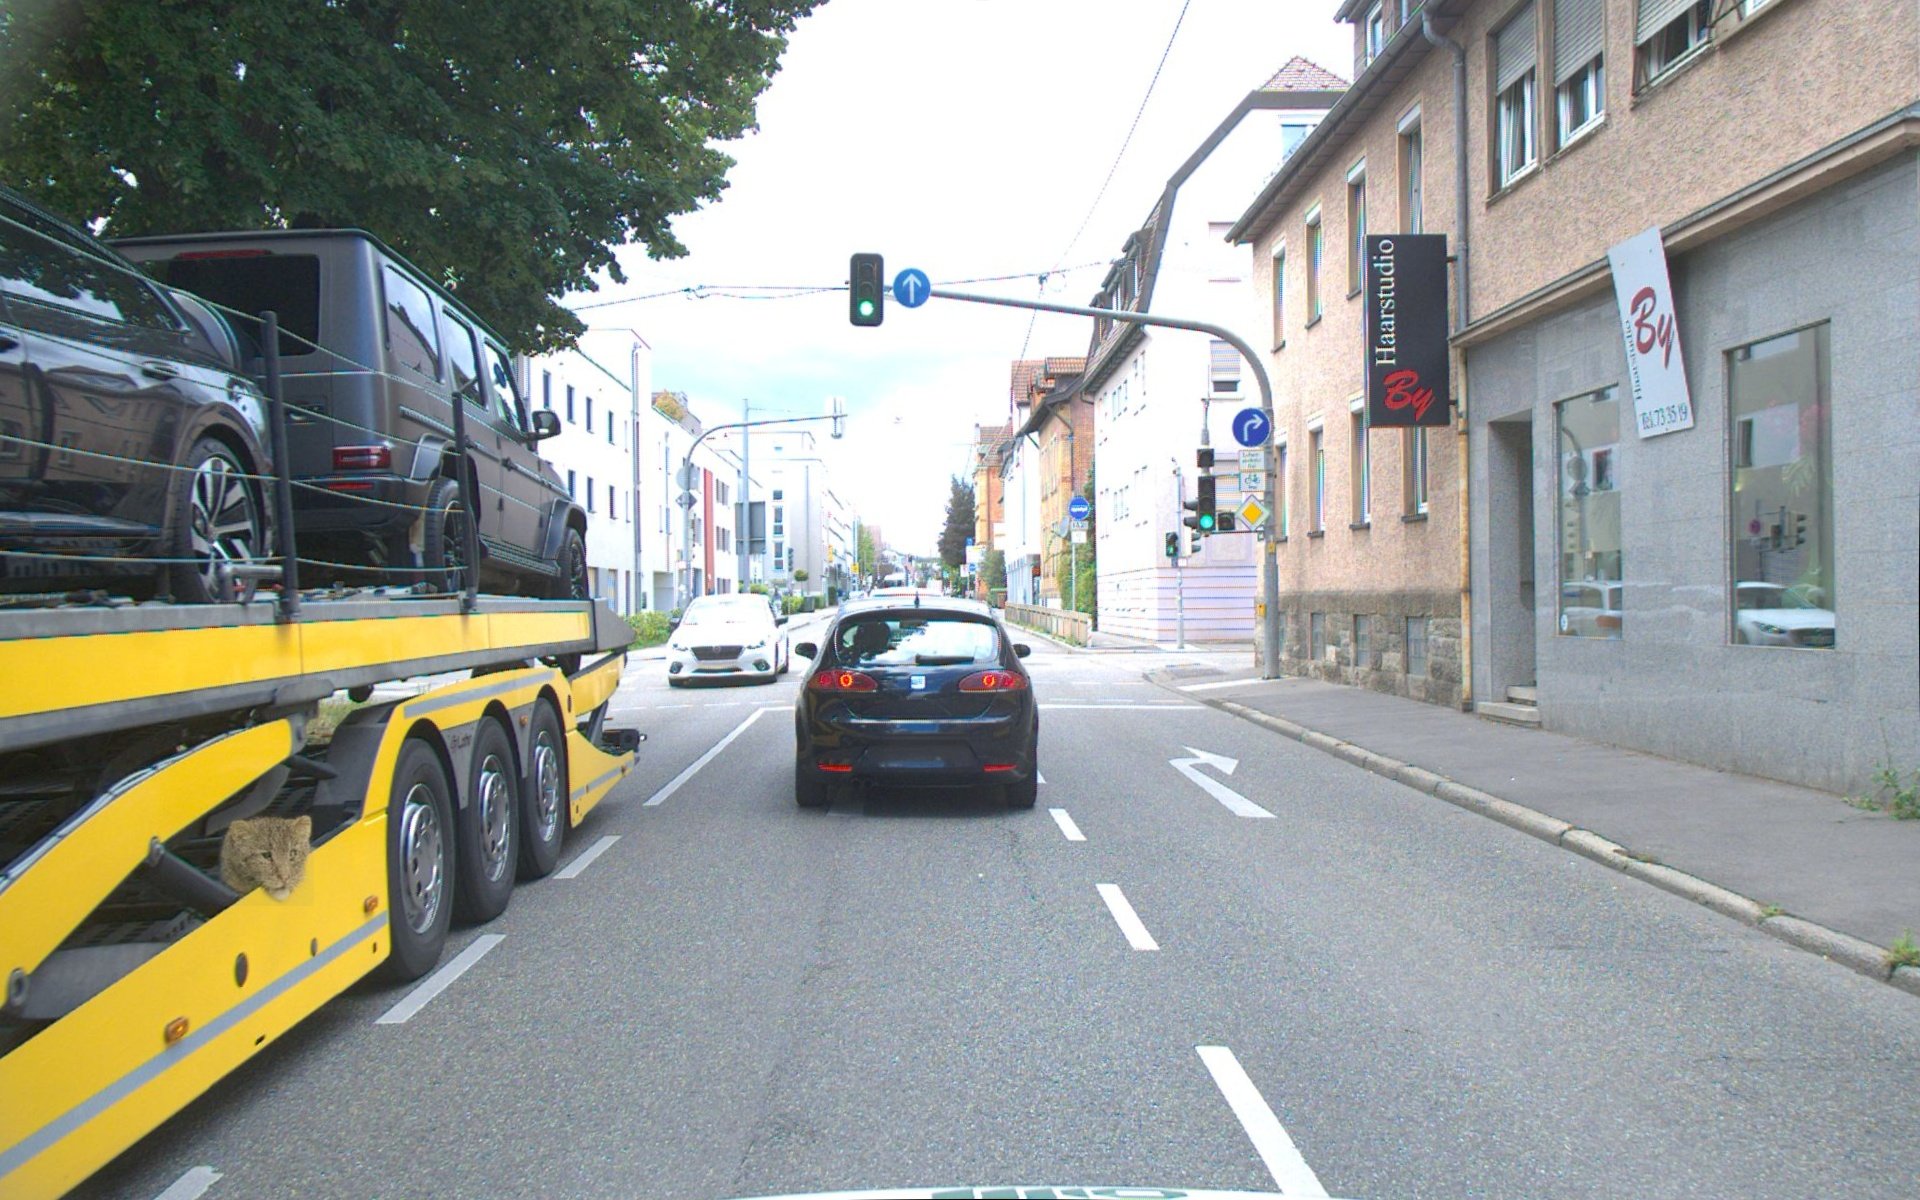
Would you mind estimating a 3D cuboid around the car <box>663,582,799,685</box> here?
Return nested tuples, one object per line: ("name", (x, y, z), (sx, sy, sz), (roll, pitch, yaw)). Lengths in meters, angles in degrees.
("car", (-3.806, 0.524, 28.136), (1.731, 1.495, 4.225), (-4, 0, -1))

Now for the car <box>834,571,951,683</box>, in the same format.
("car", (-1.105, 0.417, 27.474), (1.805, 1.723, 3.998), (0, 0, -2))

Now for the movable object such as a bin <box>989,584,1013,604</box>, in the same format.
("movable object such as a bin", (3.055, -0.472, 123.778), (1.781, 1.462, 1.992), (0, 0, -1))

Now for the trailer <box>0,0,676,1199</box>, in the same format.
("trailer", (-3.366, -0.410, 5.233), (2.800, 3.875, 14.386), (0, 0, -1))

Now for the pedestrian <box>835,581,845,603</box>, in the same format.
("pedestrian", (-9.800, -0.632, 135.133), (0.716, 1.759, 0.859), (0, 0, -2))

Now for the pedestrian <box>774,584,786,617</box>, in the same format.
("pedestrian", (-8.675, 0.038, 79.853), (0.516, 1.575, 0.541), (0, 0, -2))

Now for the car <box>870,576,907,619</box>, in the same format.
("car", (-2.975, -0.096, 69.344), (1.500, 1.723, 3.691), (0, 0, -2))

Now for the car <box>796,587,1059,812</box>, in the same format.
("car", (-0.268, 0.654, 12.859), (1.723, 1.467, 3.999), (0, 0, -2))

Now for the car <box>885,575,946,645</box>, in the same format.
("car", (-1.176, 0.250, 43.211), (1.500, 1.723, 3.691), (0, 0, -2))

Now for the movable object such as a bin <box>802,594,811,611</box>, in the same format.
("movable object such as a bin", (-9.868, 0.158, 106.120), (0.538, 1.097, 0.611), (0, 0, -1))
